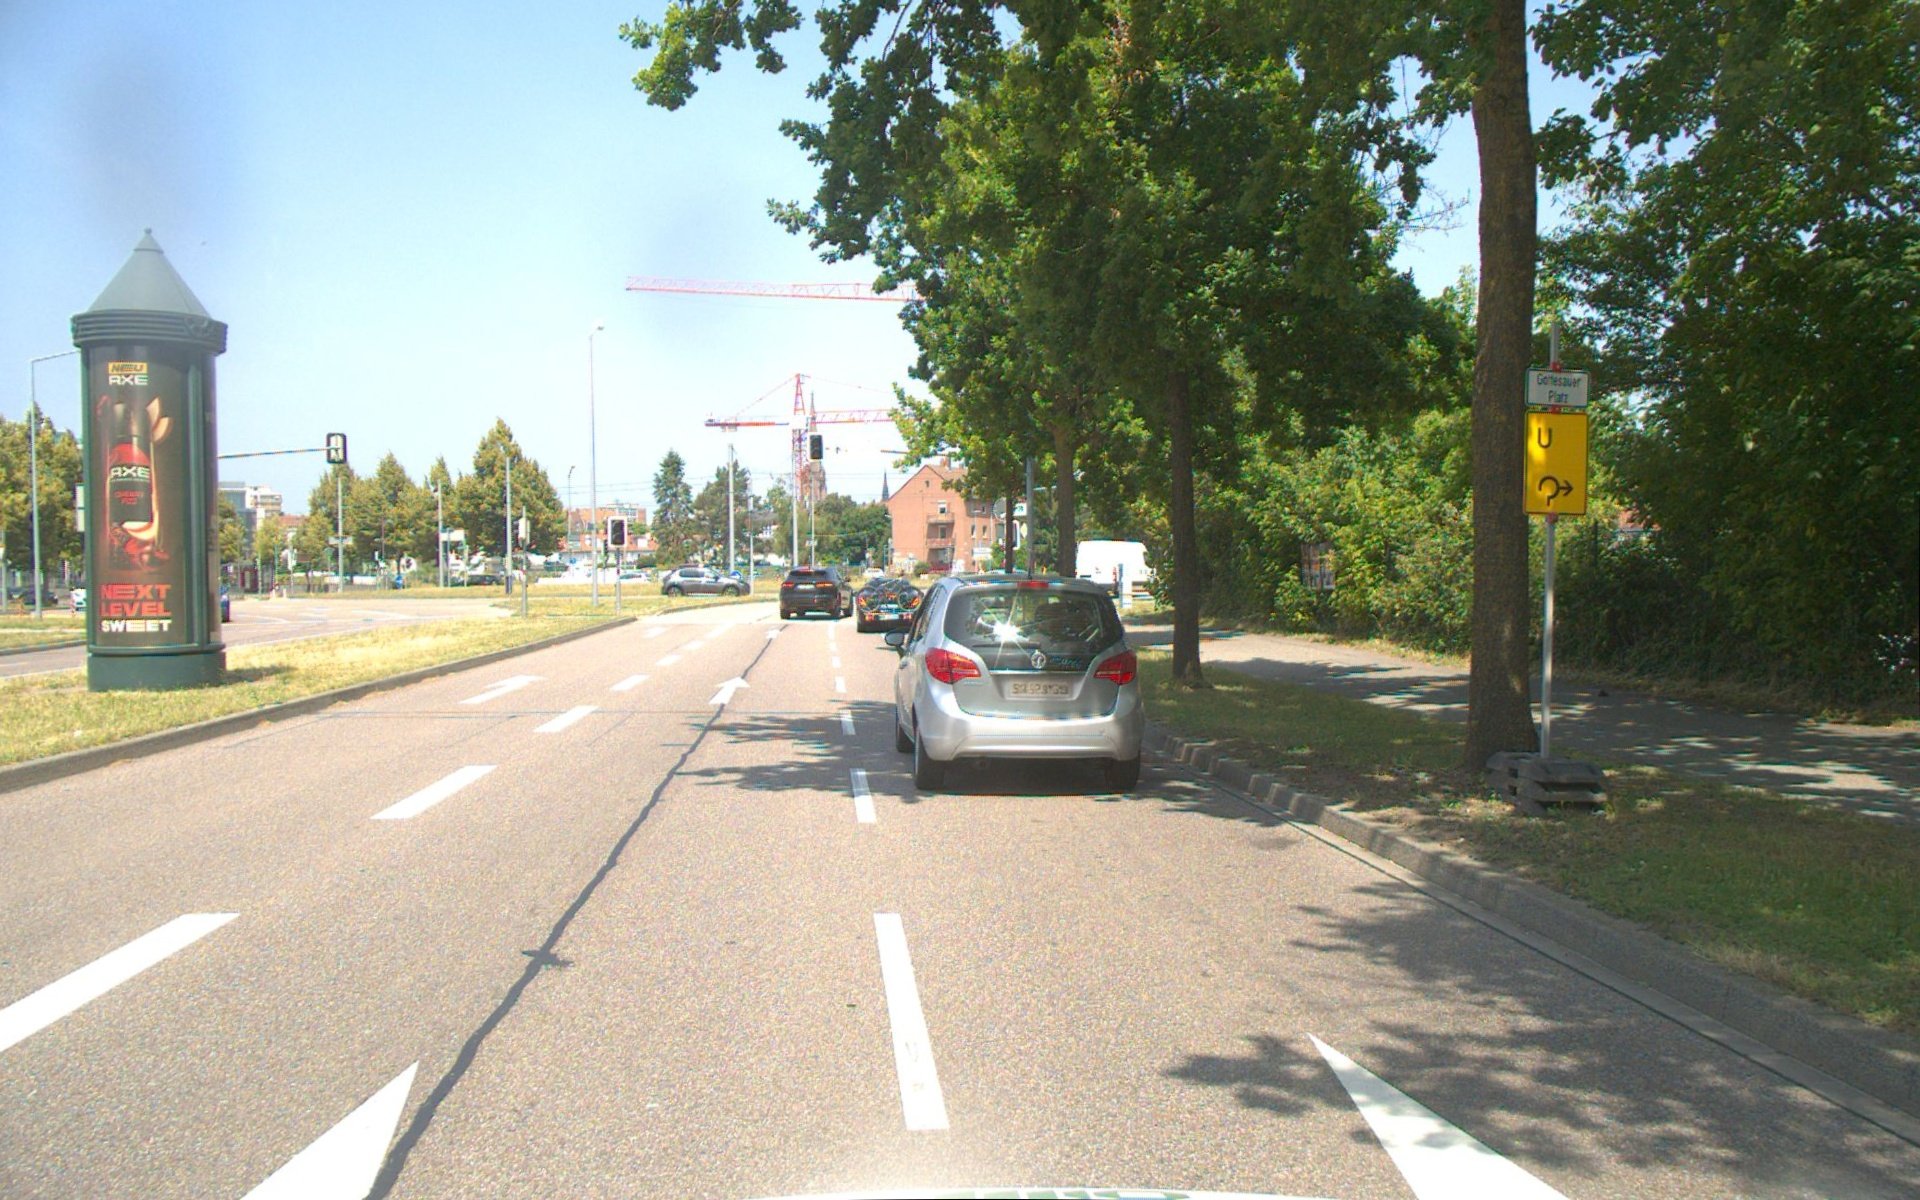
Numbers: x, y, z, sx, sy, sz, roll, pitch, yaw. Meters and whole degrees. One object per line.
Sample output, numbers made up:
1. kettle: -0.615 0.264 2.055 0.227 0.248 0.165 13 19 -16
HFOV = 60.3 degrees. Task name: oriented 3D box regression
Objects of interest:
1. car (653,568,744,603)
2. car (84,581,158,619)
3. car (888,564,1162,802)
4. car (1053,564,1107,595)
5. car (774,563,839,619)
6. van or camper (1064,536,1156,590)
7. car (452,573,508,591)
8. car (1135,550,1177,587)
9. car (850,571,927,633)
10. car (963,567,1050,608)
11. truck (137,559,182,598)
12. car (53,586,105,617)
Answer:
1. car: -11.815 -0.658 74.929 3.908 1.478 1.999 -1 1 -4
2. car: -37.072 -0.005 73.024 1.983 1.624 3.939 -2 1 -42
3. car: 0.379 0.540 13.530 1.757 1.640 3.887 -1 1 -5
4. car: 6.915 -1.195 95.133 1.953 1.678 4.000 -1 1 22
5. car: -4.935 -0.330 53.737 1.958 1.719 4.031 0 1 -3
6. van or camper: 6.853 -1.701 75.124 2.446 2.331 4.915 -1 1 28
7. car: -39.070 -1.464 134.615 3.904 1.310 2.001 -1 1 20
8. car: 11.394 -1.830 95.882 1.951 2.048 4.004 -1 1 13
9. car: -1.958 0.005 44.994 1.974 1.543 4.458 -1 1 -3
10. car: 1.802 -0.498 62.379 1.905 1.467 3.999 -1 1 23
11. truck: -57.046 -1.508 117.806 2.331 2.640 6.344 -2 1 -31
12. car: -43.399 0.052 81.443 1.727 1.449 3.791 -2 1 -36
